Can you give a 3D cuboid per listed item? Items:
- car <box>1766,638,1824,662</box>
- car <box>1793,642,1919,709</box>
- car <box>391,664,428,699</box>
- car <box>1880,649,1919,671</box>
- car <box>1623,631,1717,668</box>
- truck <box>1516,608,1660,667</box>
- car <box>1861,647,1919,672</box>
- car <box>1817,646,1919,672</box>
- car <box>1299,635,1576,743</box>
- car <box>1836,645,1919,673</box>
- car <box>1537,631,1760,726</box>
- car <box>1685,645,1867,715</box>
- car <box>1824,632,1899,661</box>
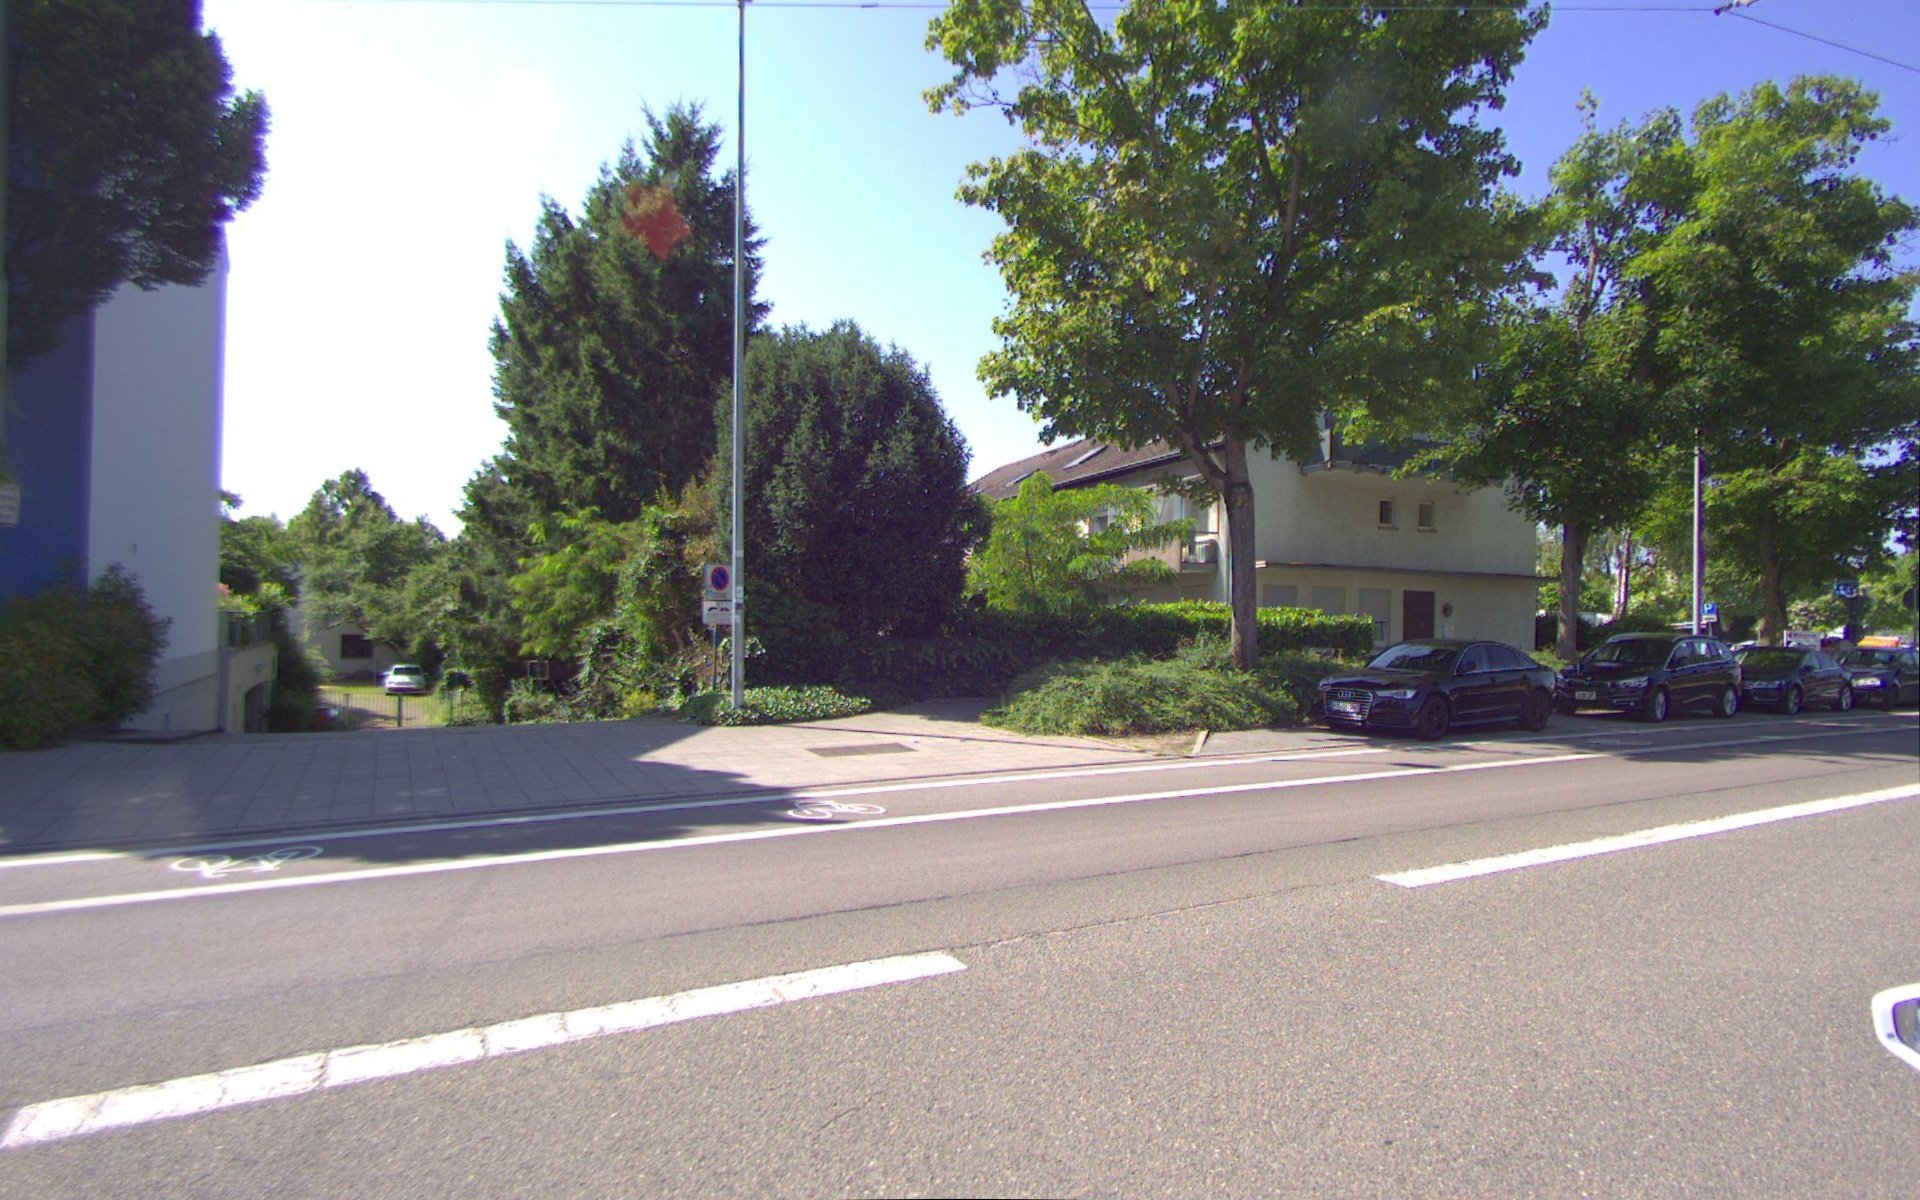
[{"bbox_3d":[68.850,4.106,82.888,1.535,1.901,3.405,2,-2,-31],"label":"car"},{"bbox_3d":[22.663,1.846,25.018,3.956,1.470,1.634,2,0,-29],"label":"car"},{"bbox_3d":[-28.653,4.209,52.206,1.627,1.344,3.968,0,2,-30],"label":"car"},{"bbox_3d":[54.976,3.418,56.822,1.748,1.241,3.973,2,-2,-27],"label":"car"},{"bbox_3d":[46.721,3.239,66.188,1.980,2.040,4.663,3,0,-34],"label":"car"},{"bbox_3d":[38.057,2.210,61.168,2.206,3.059,7.103,2,1,-31],"label":"truck"},{"bbox_3d":[52.859,3.309,55.703,1.748,1.281,3.973,2,-2,-27],"label":"car"},{"bbox_3d":[48.244,3.100,53.249,1.748,1.241,3.973,2,-2,-27],"label":"car"},{"bbox_3d":[7.779,1.341,16.193,4.859,1.485,1.829,2,-1,-34],"label":"car"},{"bbox_3d":[50.496,3.200,54.650,1.748,1.368,3.973,2,-2,-27],"label":"car"},{"bbox_3d":[13.582,1.483,19.737,4.837,1.627,1.753,2,-1,-31],"label":"car"},{"bbox_3d":[18.472,1.742,22.677,4.727,1.398,1.682,2,-1,-31],"label":"car"},{"bbox_3d":[74.515,3.837,83.047,1.981,2.040,4.228,3,0,-35],"label":"car"}]
